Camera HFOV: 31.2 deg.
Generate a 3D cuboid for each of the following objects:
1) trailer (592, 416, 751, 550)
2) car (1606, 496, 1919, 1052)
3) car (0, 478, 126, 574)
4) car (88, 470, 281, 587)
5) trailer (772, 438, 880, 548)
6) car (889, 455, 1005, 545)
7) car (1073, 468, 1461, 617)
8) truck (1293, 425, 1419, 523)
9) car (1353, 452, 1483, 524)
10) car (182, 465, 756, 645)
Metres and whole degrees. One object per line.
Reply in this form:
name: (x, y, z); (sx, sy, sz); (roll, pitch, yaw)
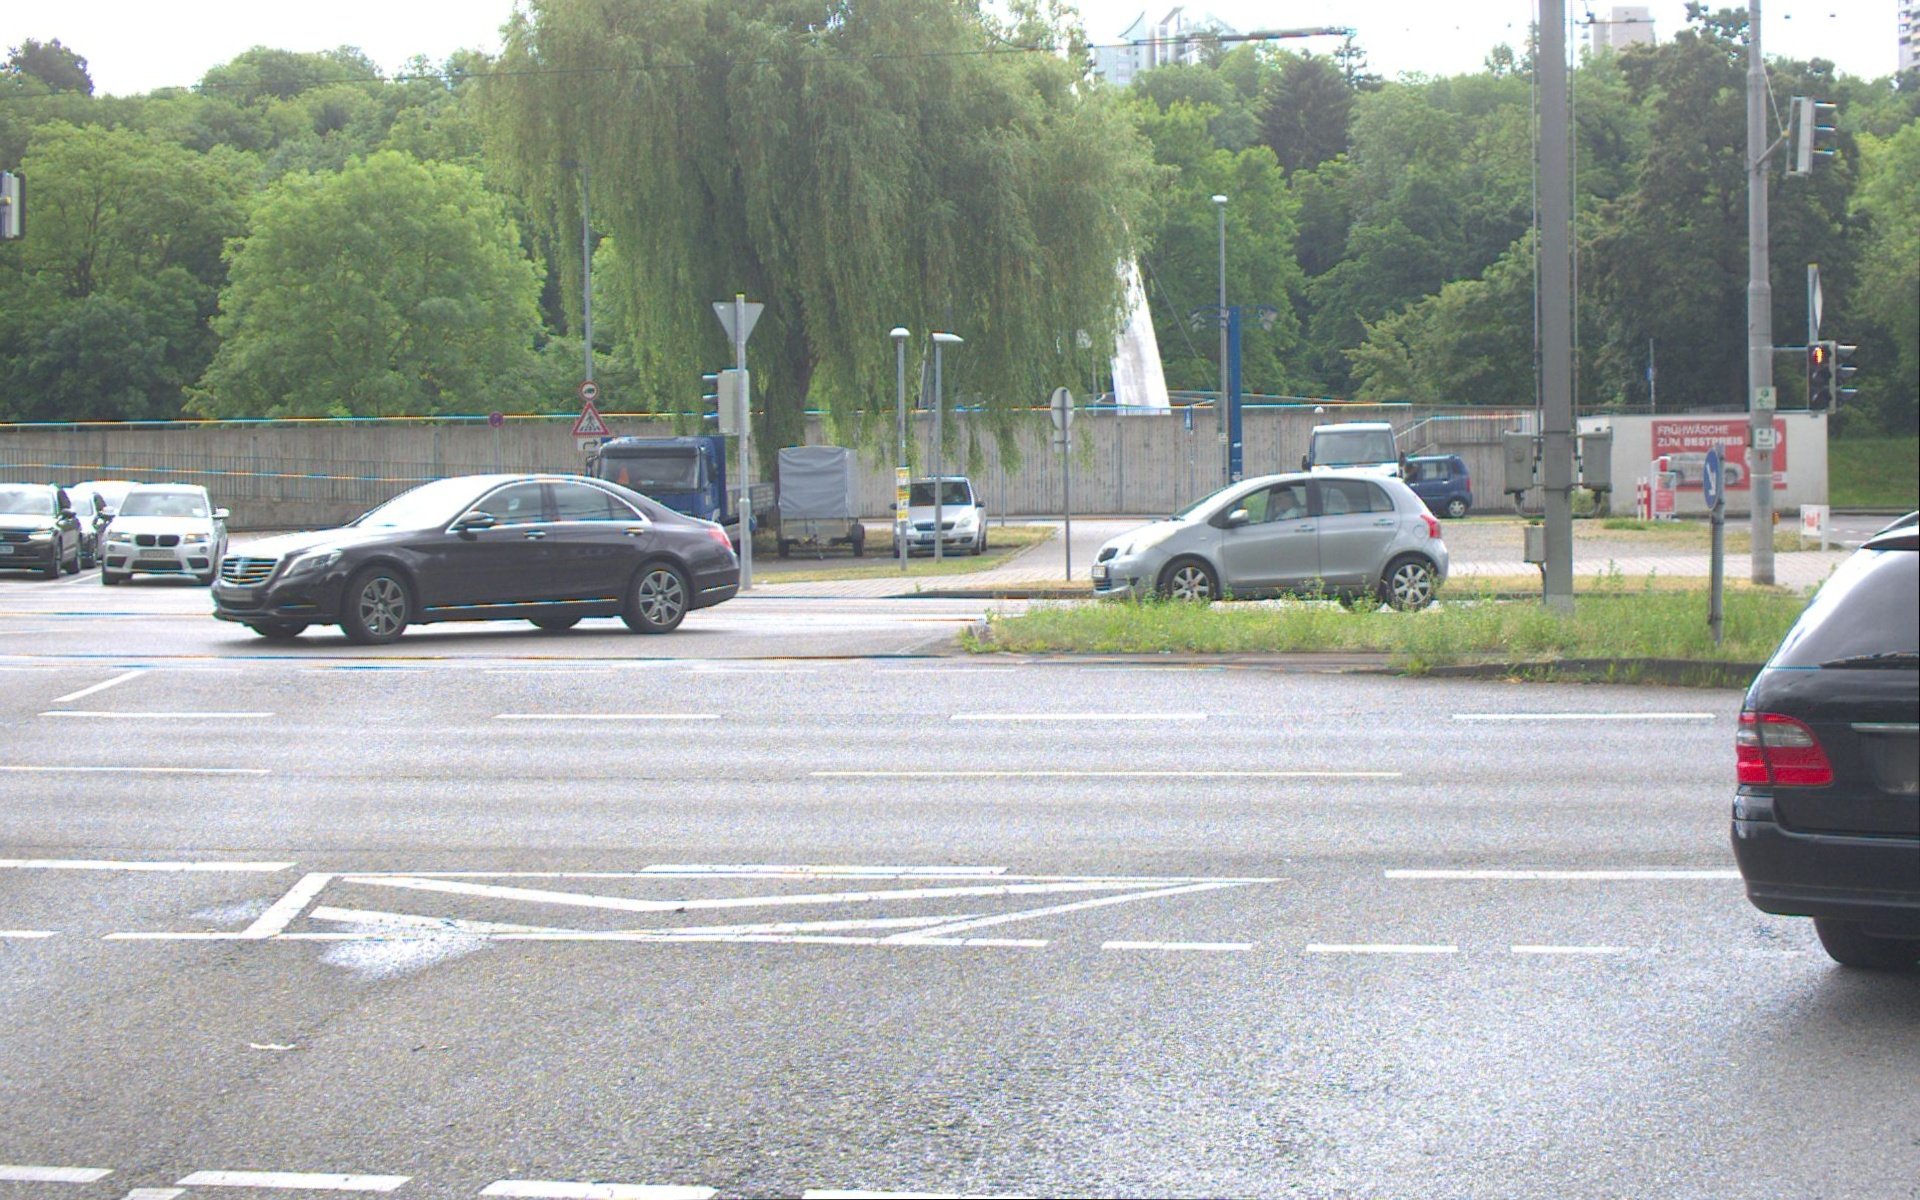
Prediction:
trailer: (-5.806, -2.352, 69.769); (2.352, 2.573, 4.919); (-1, 1, 5)
car: (4.004, 0.408, 11.181); (1.826, 1.504, 4.564); (1, 2, 38)
car: (-16.292, -1.324, 60.419); (1.994, 1.634, 4.000); (0, 2, 5)
car: (-13.020, -1.213, 57.941); (1.994, 1.853, 4.000); (-1, 1, 5)
trailer: (-2.763, -2.219, 71.872); (1.993, 2.176, 4.000); (-1, 1, 1)
car: (-0.235, -2.038, 70.444); (1.994, 1.744, 4.000); (-1, 1, 5)
car: (3.252, -0.634, 36.697); (3.768, 1.503, 1.705); (-1, 2, -13)
truck: (8.568, -2.703, 74.781); (2.235, 2.007, 5.240); (-1, 1, 2)
car: (12.157, -2.977, 91.300); (3.149, 1.812, 1.403); (-2, 1, -6)
car: (-4.435, -0.463, 31.641); (5.053, 1.518, 1.743); (-2, 3, -40)
